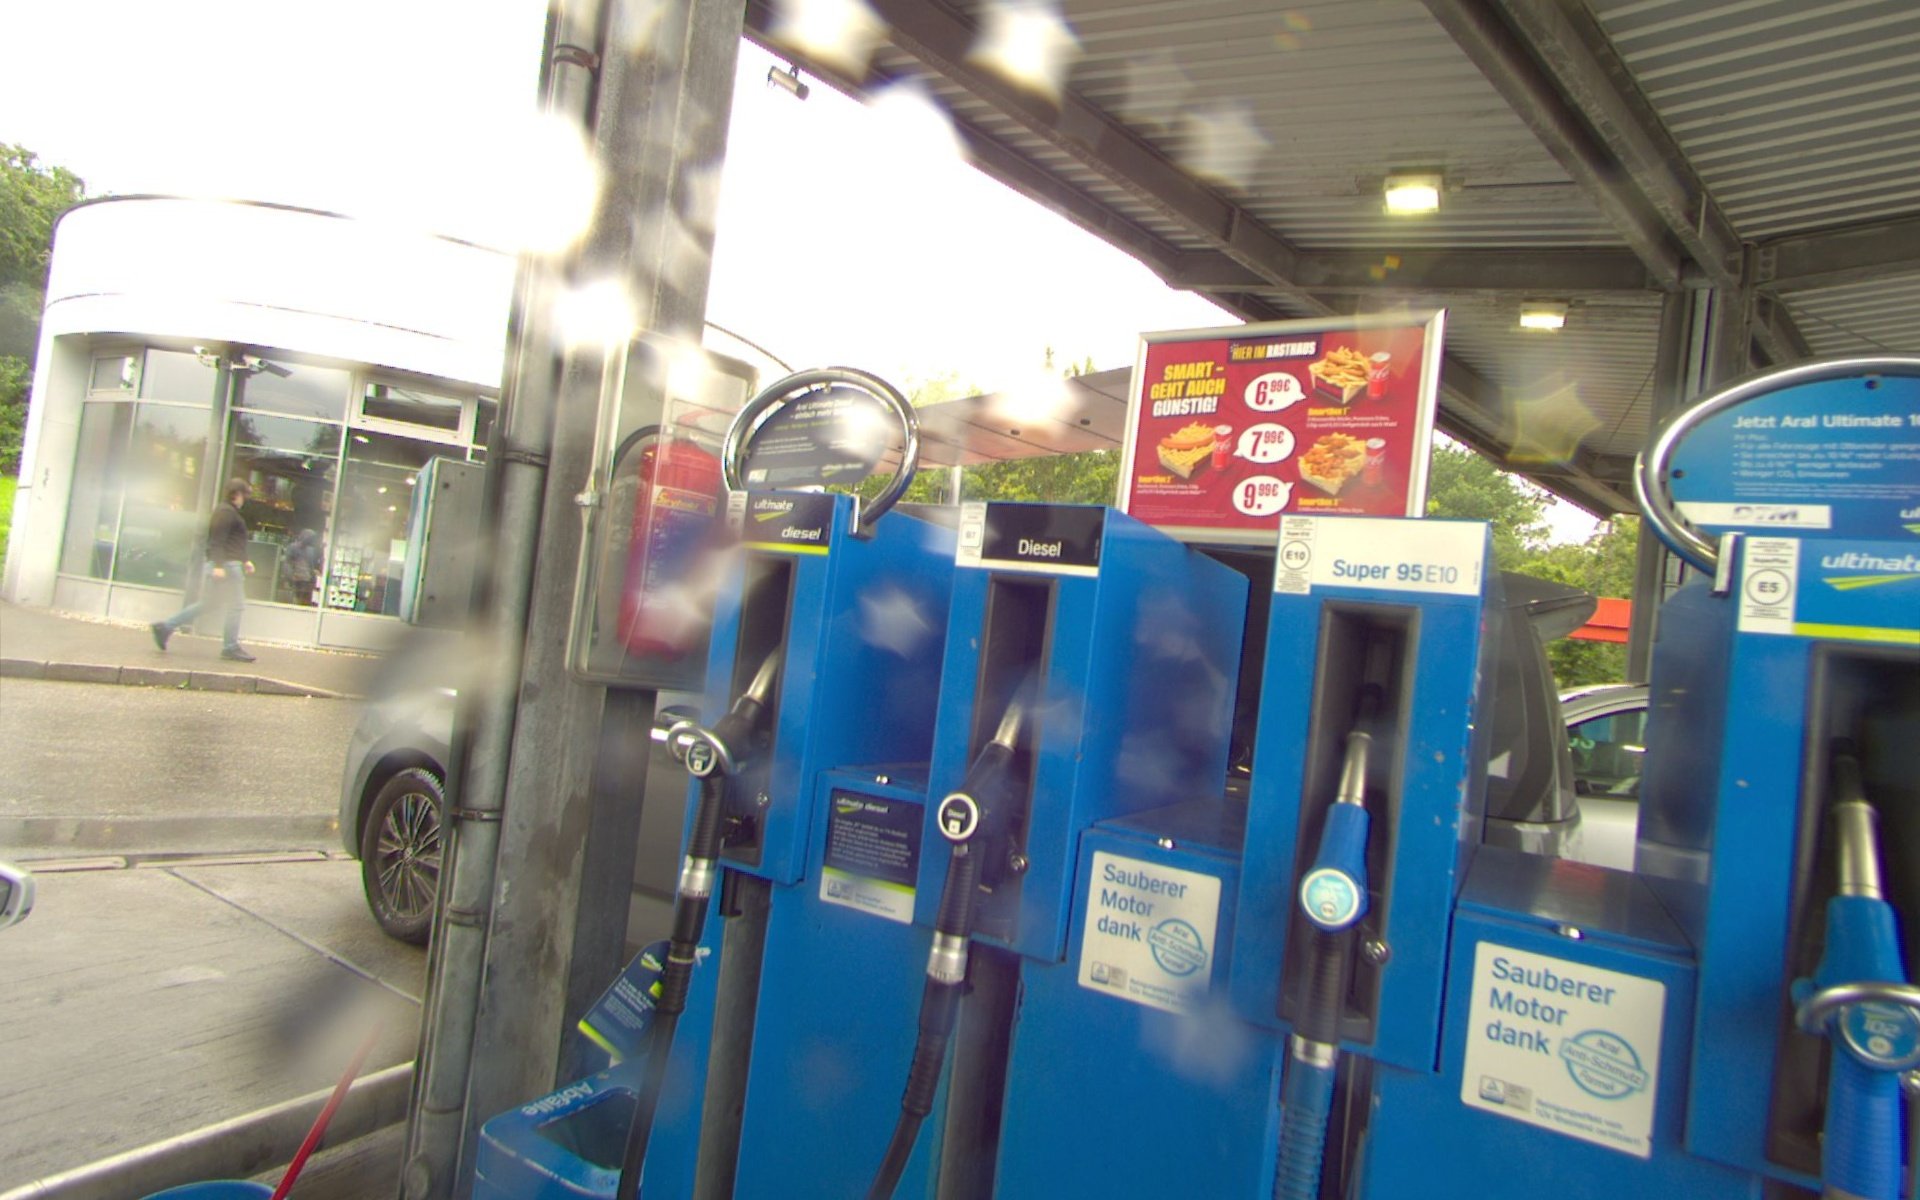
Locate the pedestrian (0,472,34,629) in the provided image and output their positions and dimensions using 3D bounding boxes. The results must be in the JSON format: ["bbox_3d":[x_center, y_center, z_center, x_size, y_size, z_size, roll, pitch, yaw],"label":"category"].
[{"bbox_3d":[-10.045,-0.548,10.067,0.882,1.569,0.655,7,0,-29],"label":"pedestrian"}]

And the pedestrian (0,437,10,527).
[{"bbox_3d":[-9.424,-0.641,9.047,0.965,1.871,0.767,7,0,-30],"label":"pedestrian"}]

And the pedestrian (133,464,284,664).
[{"bbox_3d":[-7.766,-0.352,10.451,0.990,1.887,0.793,7,0,-30],"label":"pedestrian"}]

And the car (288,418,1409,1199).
[{"bbox_3d":[-0.584,0.496,3.978,3.934,1.971,1.819,7,-1,32],"label":"car"}]

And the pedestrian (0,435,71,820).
[{"bbox_3d":[-4.690,0.106,4.429,0.786,1.755,0.835,7,0,-23],"label":"pedestrian"}]
